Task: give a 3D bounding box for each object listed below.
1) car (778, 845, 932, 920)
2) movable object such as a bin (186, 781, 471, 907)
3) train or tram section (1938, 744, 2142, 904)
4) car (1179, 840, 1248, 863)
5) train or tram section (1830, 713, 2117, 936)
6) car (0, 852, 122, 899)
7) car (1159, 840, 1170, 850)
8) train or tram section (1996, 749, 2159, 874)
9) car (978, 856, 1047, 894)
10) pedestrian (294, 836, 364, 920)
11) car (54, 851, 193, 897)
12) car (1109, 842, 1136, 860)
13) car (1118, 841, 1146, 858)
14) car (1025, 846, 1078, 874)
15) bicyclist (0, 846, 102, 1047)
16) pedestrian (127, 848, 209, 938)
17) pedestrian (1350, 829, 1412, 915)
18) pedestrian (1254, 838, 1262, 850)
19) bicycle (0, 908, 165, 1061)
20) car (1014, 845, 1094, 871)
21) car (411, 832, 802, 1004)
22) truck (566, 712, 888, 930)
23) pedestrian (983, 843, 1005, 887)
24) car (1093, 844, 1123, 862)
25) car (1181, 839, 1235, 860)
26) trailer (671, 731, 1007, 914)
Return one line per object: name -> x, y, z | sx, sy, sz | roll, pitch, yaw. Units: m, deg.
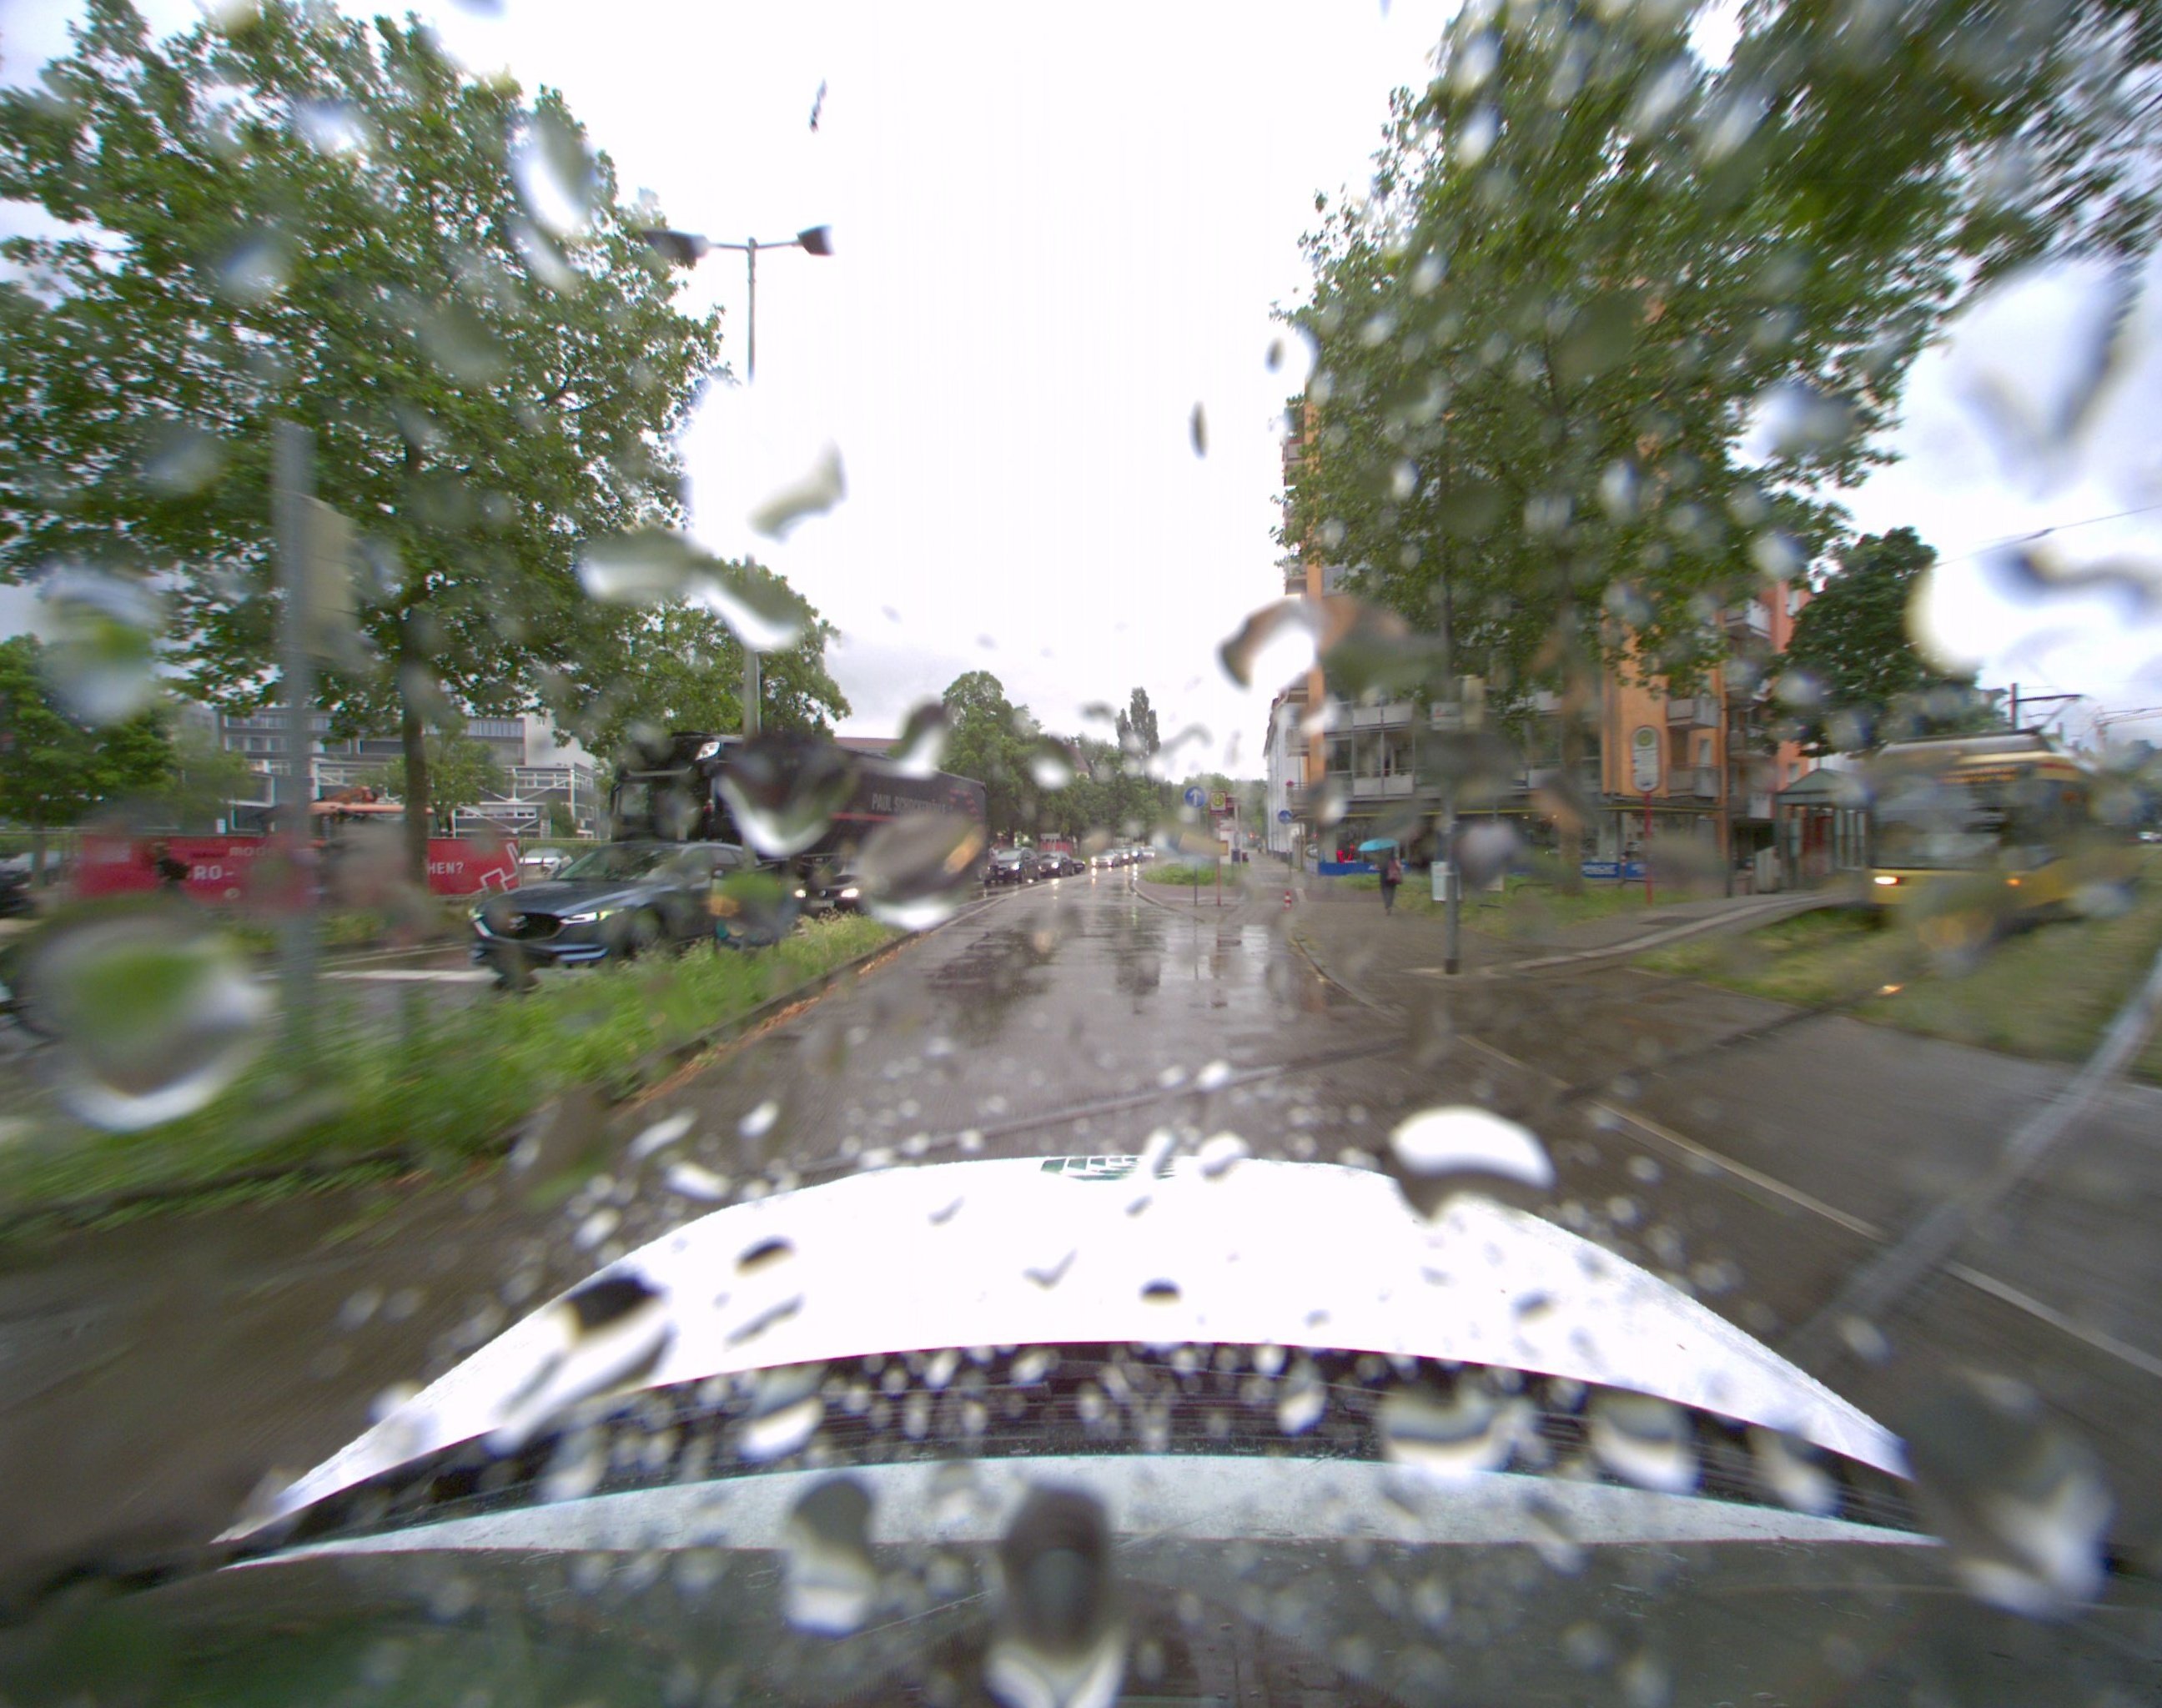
car -> -4.715, 0.529, 17.678 | 1.688, 1.373, 4.109 | -1, 1, 8
movable object such as a bin -> -19.831, -0.252, 21.476 | 6.698, 2.930, 2.790 | 0, 1, 21
train or tram section -> 24.394, -0.725, 20.572 | 8.412, 3.351, 2.618 | -1, 1, -35
car -> 9.036, -0.167, 55.248 | 4.504, 1.470, 1.989 | -1, 0, 11
train or tram section -> 17.509, -0.537, 15.769 | 8.410, 3.369, 2.618 | -1, 1, -34
car -> -42.548, 0.834, 33.595 | 2.002, 1.736, 4.552 | -1, 1, -23
car -> 13.793, -1.564, 135.201 | 1.767, 1.529, 4.006 | 0, 2, 4
train or tram section -> 31.886, -1.257, 25.918 | 10.030, 3.351, 2.618 | -1, 1, -35
car -> -3.109, 0.955, 37.977 | 1.855, 1.619, 4.818 | -1, -1, 12
pedestrian -> -15.465, 0.474, 16.769 | 0.912, 1.649, 0.745 | -2, 1, -35
car -> -40.218, 0.783, 34.385 | 2.002, 1.736, 4.388 | -1, 1, -23
car -> 3.668, -0.254, 71.472 | 1.767, 1.420, 4.279 | -1, 1, 11
car -> 4.959, -0.462, 78.213 | 1.901, 1.639, 4.838 | 0, 1, 13
car -> -1.537, 0.290, 44.198 | 1.714, 1.361, 4.353 | -2, 1, 13
bicyclist -> -8.173, 0.677, 6.028 | 0.578, 1.461, 1.010 | -1, 1, -2
pedestrian -> -16.824, 0.694, 15.011 | 0.634, 1.581, 0.886 | -1, 1, 33
pedestrian -> 6.803, 0.383, 18.533 | 1.162, 1.865, 1.390 | 0, 1, 13
pedestrian -> 27.680, -1.575, 127.381 | 1.057, 1.810, 1.096 | -1, 1, 7
bicycle -> -8.156, 1.001, 6.072 | 0.530, 1.024, 1.873 | -1, 1, -2
car -> -1.691, 0.249, 50.404 | 4.866, 1.453, 2.099 | 0, 1, 43
car -> -5.879, 0.609, 11.075 | 2.064, 1.681, 4.938 | 1, 3, 5
truck -> -7.629, -0.678, 18.993 | 3.428, 4.078, 6.996 | 0, 1, 11
pedestrian -> -3.710, 0.452, 34.806 | 0.868, 1.843, 0.990 | -1, 1, -7
car -> 2.183, -0.106, 64.325 | 1.764, 1.403, 4.843 | 0, 1, 10
car -> 10.034, -0.331, 64.244 | 4.164, 1.568, 1.894 | -1, 0, 9
trailer -> -6.223, -0.854, 25.872 | 3.420, 4.048, 15.100 | -1, 1, 11
